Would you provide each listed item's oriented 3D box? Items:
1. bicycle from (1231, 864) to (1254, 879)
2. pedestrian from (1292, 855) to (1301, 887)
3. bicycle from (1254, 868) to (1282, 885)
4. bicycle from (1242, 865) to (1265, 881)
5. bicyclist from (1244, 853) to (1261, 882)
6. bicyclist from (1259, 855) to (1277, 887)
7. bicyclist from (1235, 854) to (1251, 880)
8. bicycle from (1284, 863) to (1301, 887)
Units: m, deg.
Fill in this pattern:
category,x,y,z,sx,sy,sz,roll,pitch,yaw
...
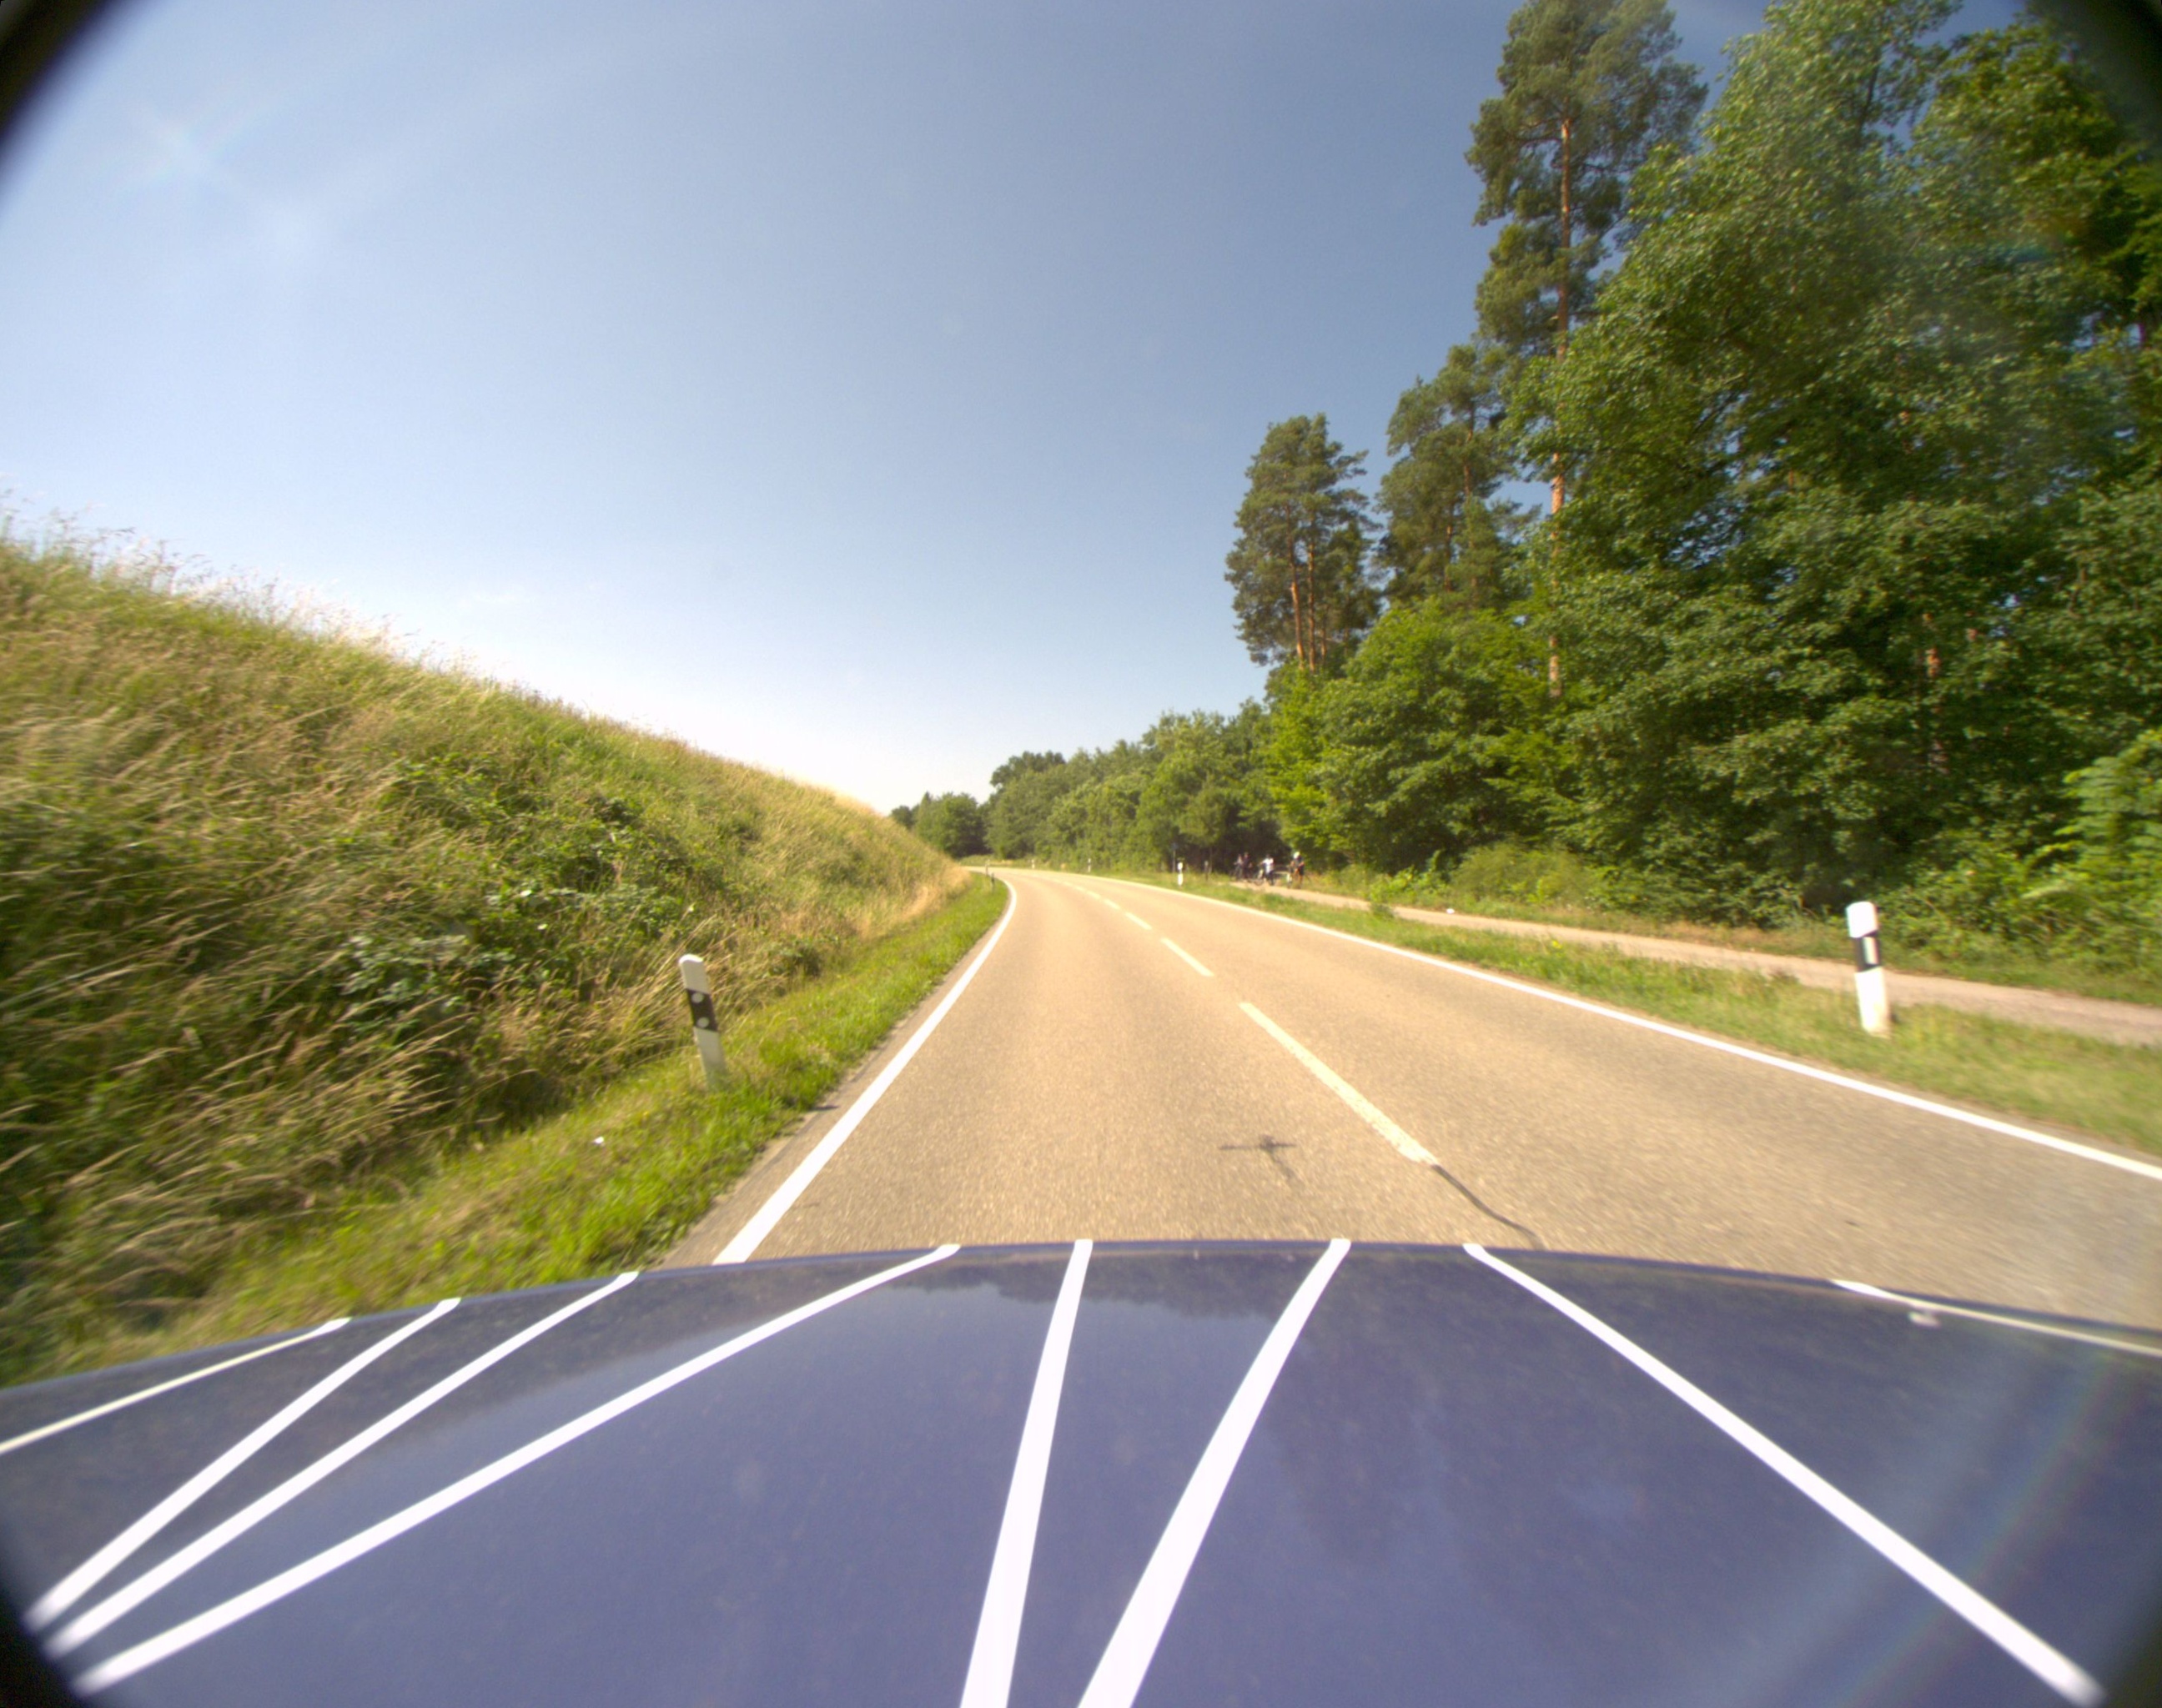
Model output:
category,x,y,z,sx,sy,sz,roll,pitch,yaw
bicycle,9.829,1.069,46.136,0.604,0.825,1.989,-1,2,36
pedestrian,10.432,0.828,36.738,0.285,1.529,0.390,-1,1,-13
bicycle,10.190,1.218,41.365,0.604,0.825,1.989,-1,2,43
bicycle,10.414,1.120,45.835,0.604,0.825,1.989,-1,2,36
bicyclist,10.319,0.784,45.701,0.604,1.691,0.852,-1,2,36
bicyclist,10.191,0.932,41.378,0.604,1.709,0.791,0,3,43
bicyclist,9.881,0.809,46.200,0.604,1.537,0.873,-1,2,36
bicycle,10.238,0.999,36.773,0.581,1.080,1.449,-3,-1,21
